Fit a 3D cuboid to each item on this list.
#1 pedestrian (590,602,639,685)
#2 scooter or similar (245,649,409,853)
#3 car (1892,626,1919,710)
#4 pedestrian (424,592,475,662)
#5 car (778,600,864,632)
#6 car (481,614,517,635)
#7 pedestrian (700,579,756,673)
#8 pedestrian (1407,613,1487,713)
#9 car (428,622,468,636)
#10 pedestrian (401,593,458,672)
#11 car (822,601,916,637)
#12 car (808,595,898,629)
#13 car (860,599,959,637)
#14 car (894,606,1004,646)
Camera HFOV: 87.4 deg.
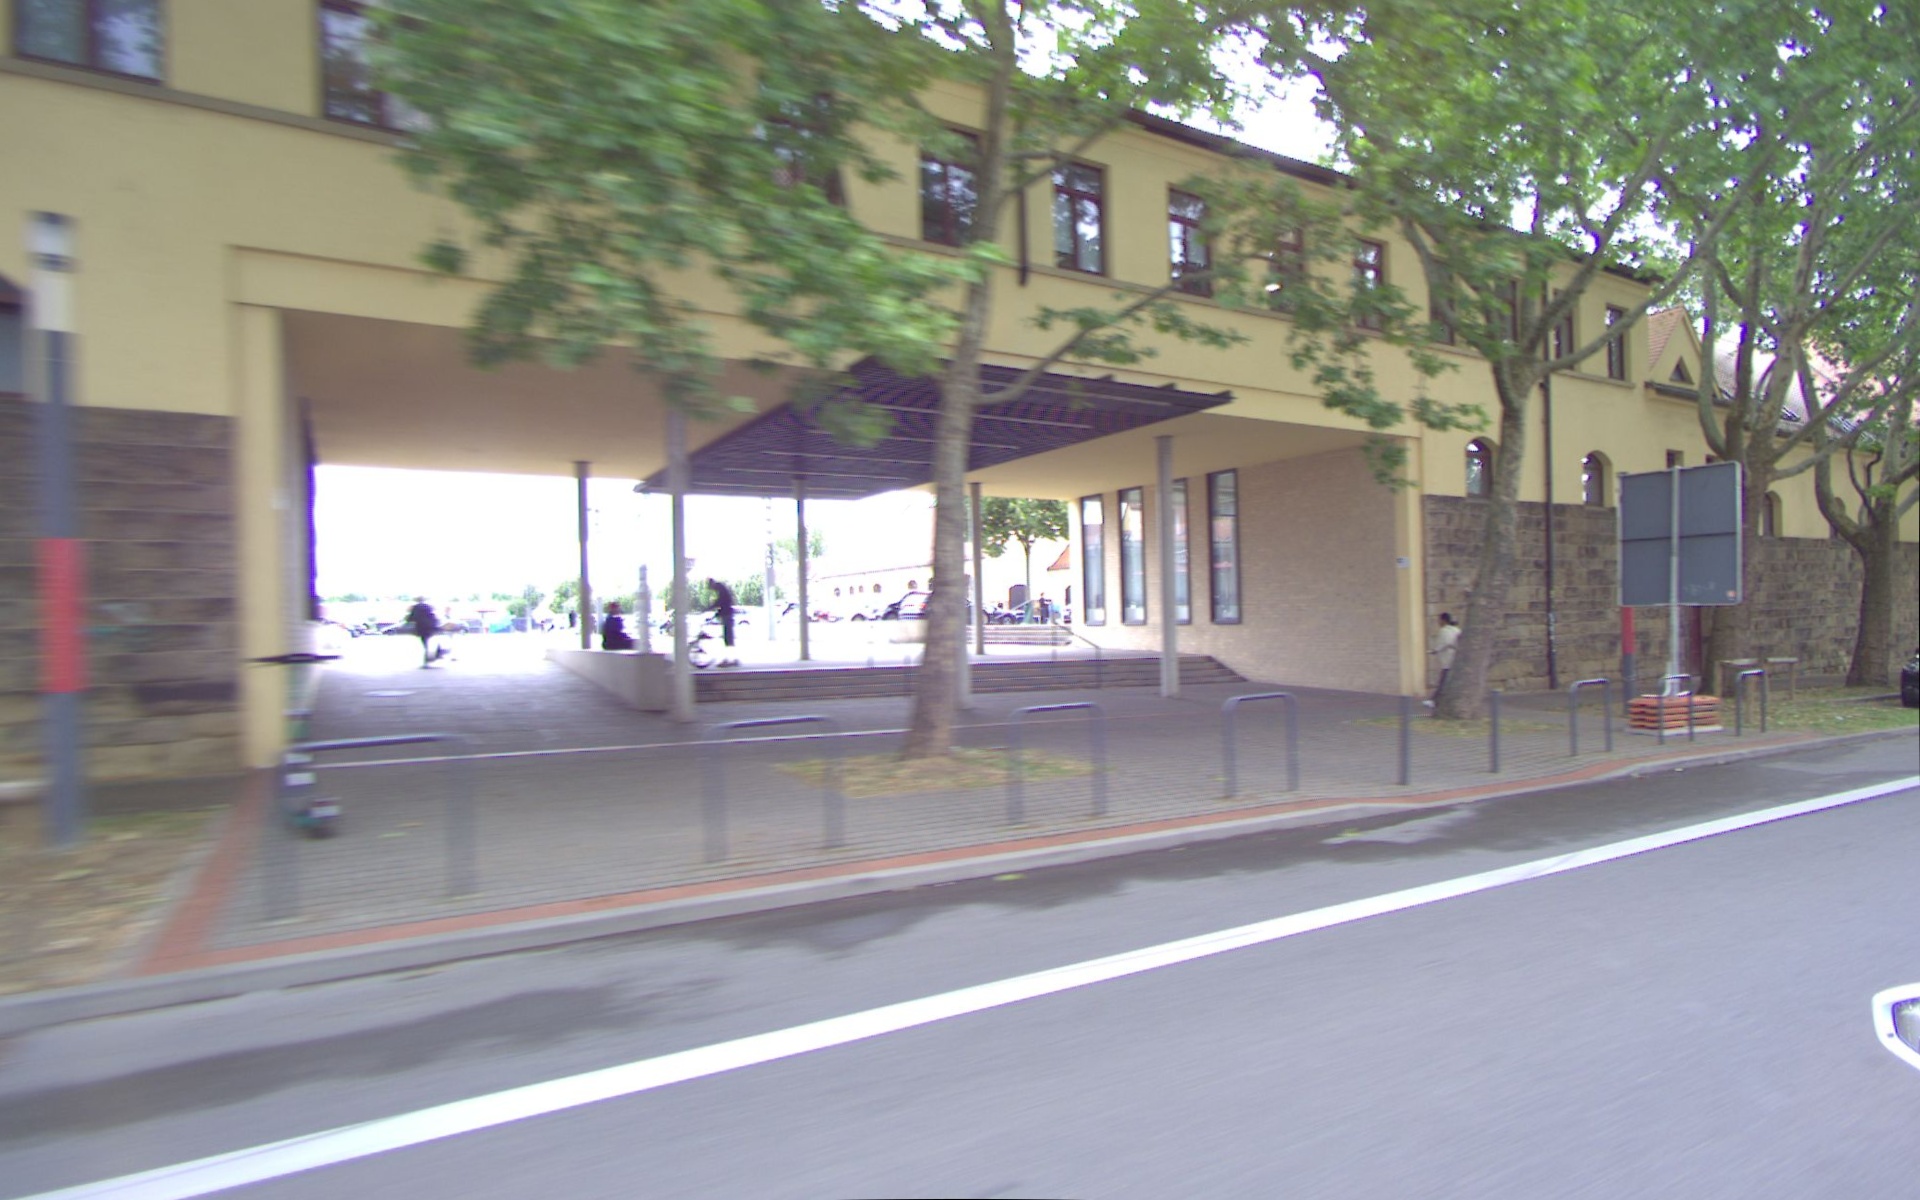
[{"bbox_3d":[-6.466,0.806,18.780,0.751,1.508,0.571,2,0,-30],"label":"pedestrian"},{"bbox_3d":[-4.587,1.023,7.240,1.595,1.256,0.445,1,0,37],"label":"scooter or similar"},{"bbox_3d":[21.679,1.472,21.352,4.207,1.711,1.721,2,-1,-33],"label":"car"},{"bbox_3d":[-11.596,0.605,22.797,0.953,1.543,0.805,1,0,-31],"label":"pedestrian"},{"bbox_3d":[-6.710,0.781,48.546,3.777,1.499,1.690,1,0,-35],"label":"car"},{"bbox_3d":[-56.393,2.970,122.868,3.947,2.406,1.987,2,0,-26],"label":"car"},{"bbox_3d":[-4.604,0.502,19.913,0.892,1.814,0.806,1,0,-26],"label":"pedestrian"},{"bbox_3d":[8.594,1.092,17.734,0.913,1.710,0.860,1,0,-22],"label":"pedestrian"},{"bbox_3d":[-59.707,3.337,117.175,3.957,1.506,1.982,2,-1,-33],"label":"car"},{"bbox_3d":[-10.786,0.652,20.410,0.953,1.543,0.805,1,0,-31],"label":"pedestrian"},{"bbox_3d":[-3.951,0.829,43.808,3.777,1.499,1.690,1,0,-35],"label":"car"},{"bbox_3d":[-4.929,0.564,46.421,3.777,1.499,1.690,1,0,-35],"label":"car"},{"bbox_3d":[-2.080,0.730,41.644,3.777,1.499,1.690,1,0,-35],"label":"car"},{"bbox_3d":[-0.416,1.009,39.394,3.965,1.499,1.978,1,0,-39],"label":"car"}]
